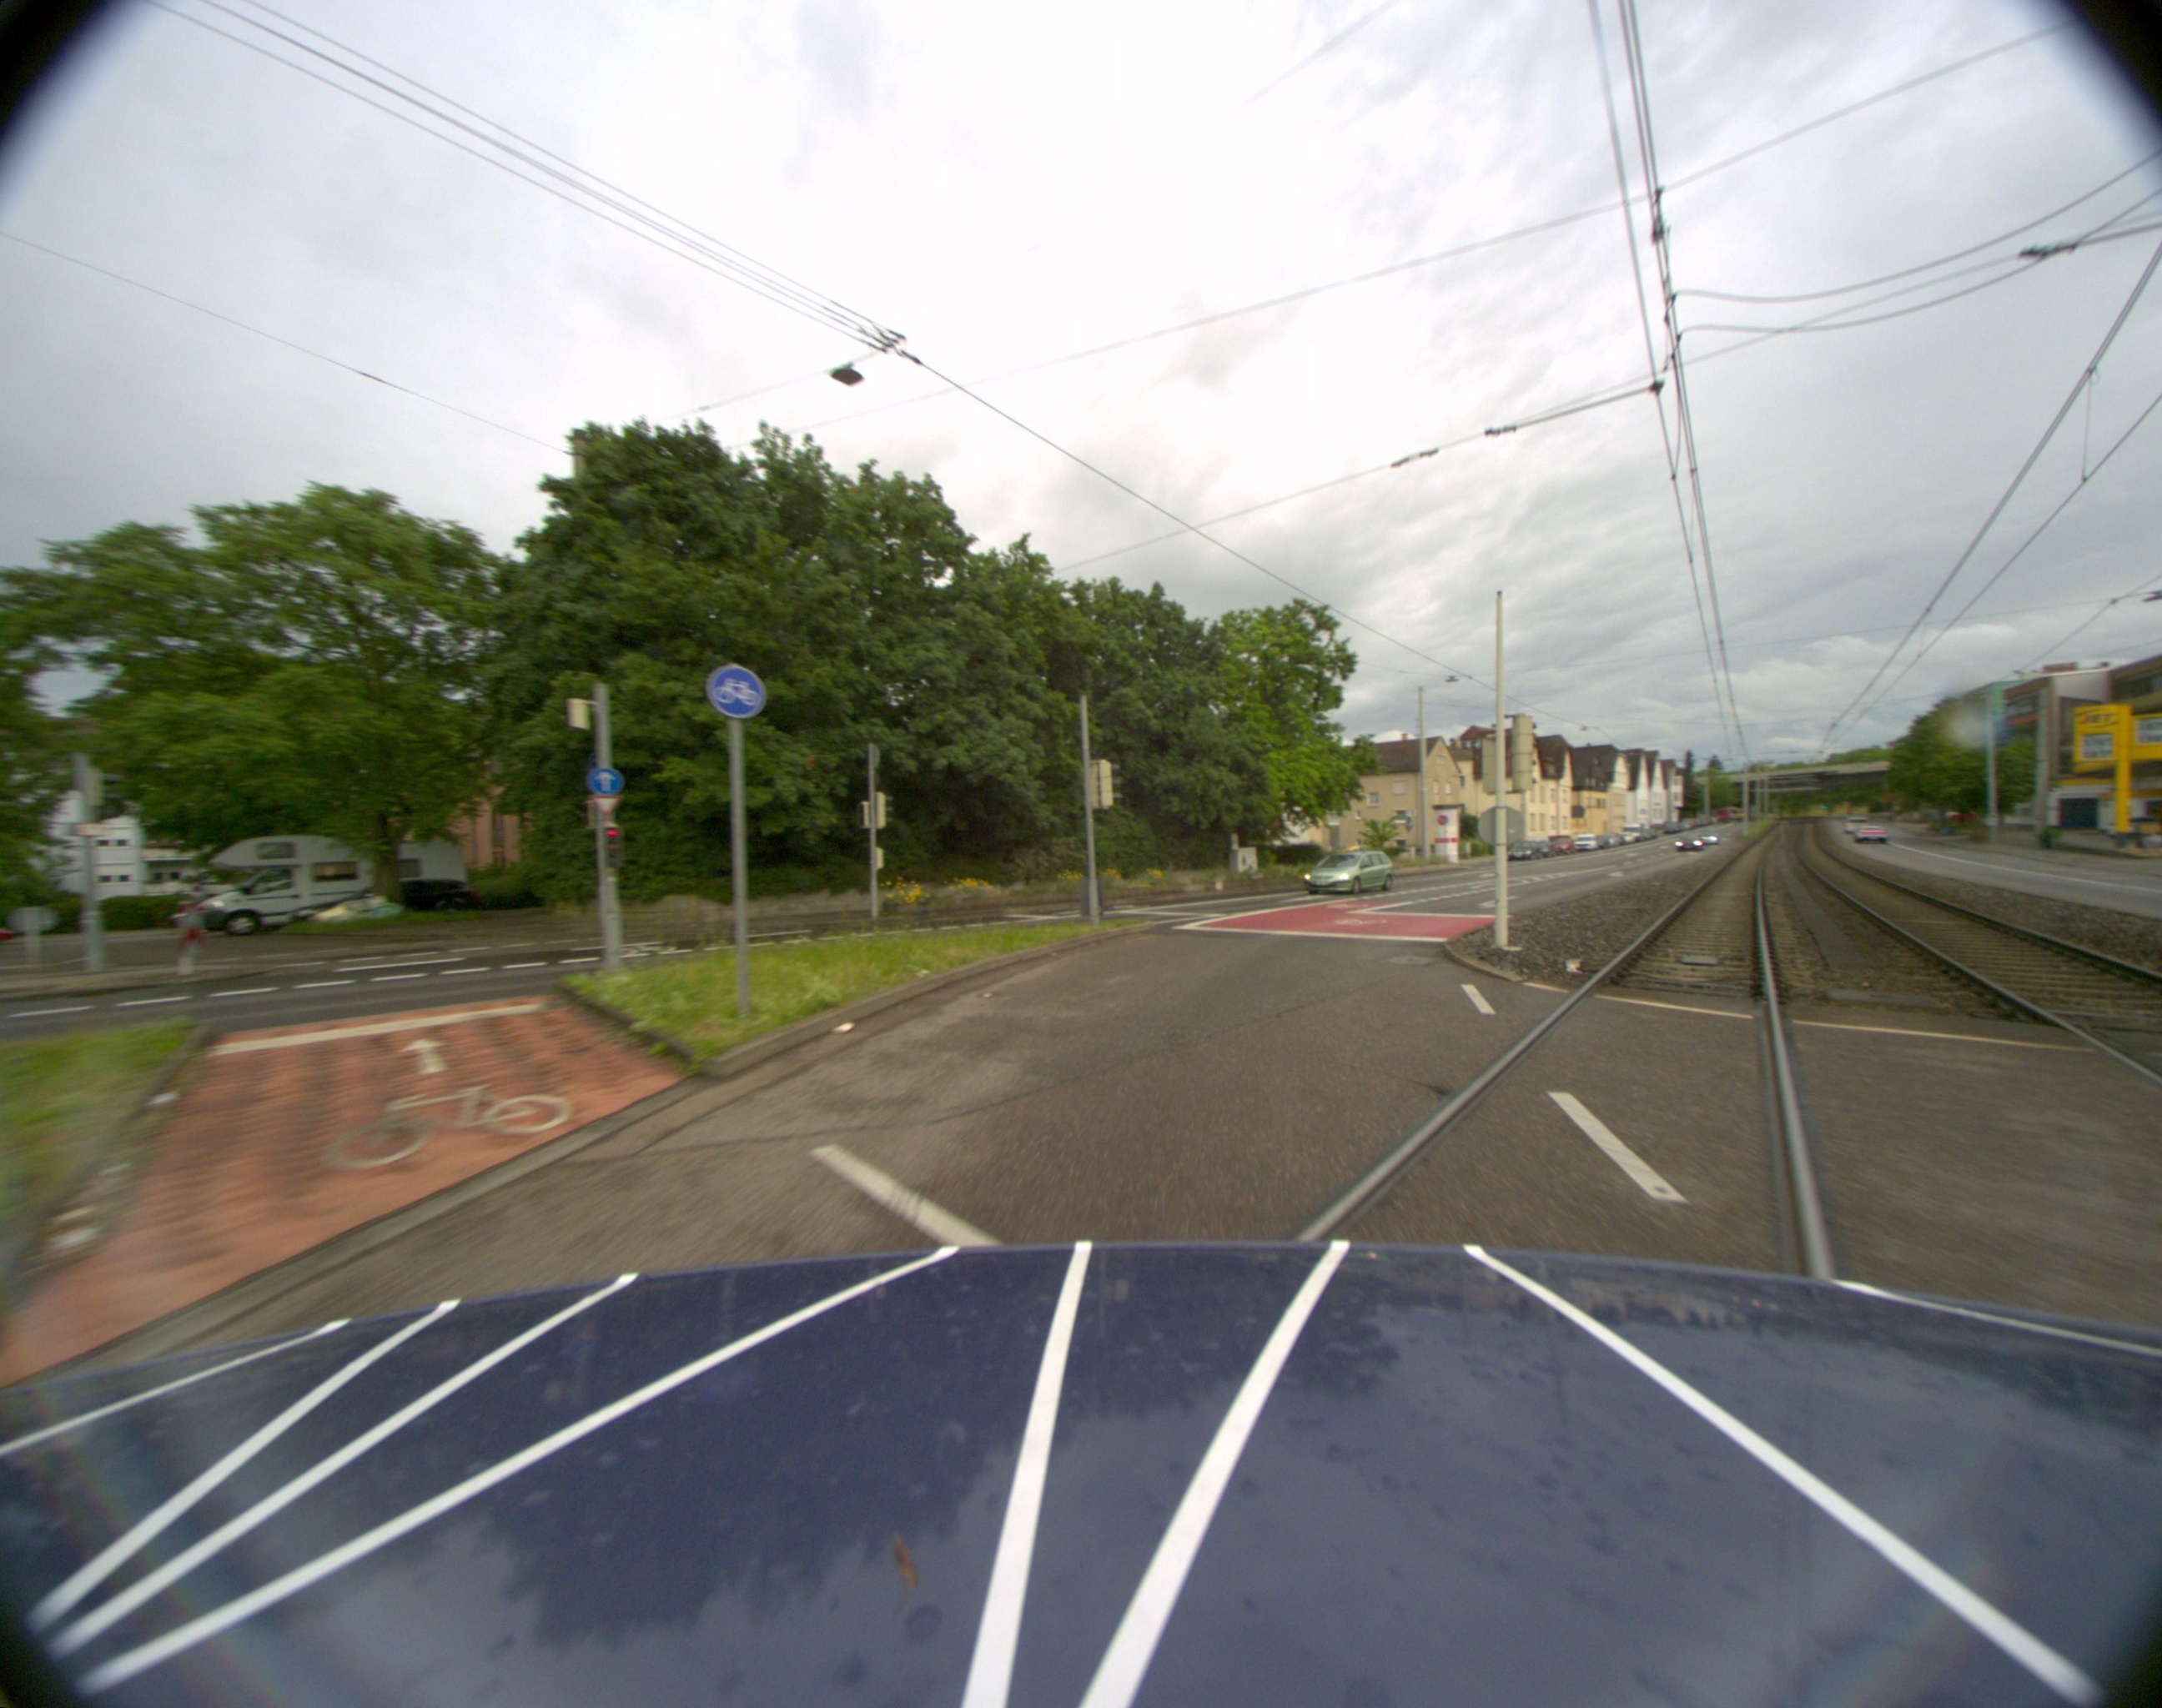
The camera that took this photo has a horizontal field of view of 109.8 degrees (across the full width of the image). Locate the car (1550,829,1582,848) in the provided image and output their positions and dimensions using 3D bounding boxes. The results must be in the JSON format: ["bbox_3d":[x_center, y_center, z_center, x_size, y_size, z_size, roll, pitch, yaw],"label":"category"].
[{"bbox_3d":[46.368,-1.521,72.607,1.838,1.618,4.107,-2,1,43],"label":"car"}]

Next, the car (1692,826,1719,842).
[{"bbox_3d":[64.810,-2.089,78.814,1.884,1.417,4.208,-2,2,43],"label":"car"}]

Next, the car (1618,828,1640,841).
[{"bbox_3d":[68.345,-2.481,94.765,1.602,1.456,4.208,-2,2,45],"label":"car"}]

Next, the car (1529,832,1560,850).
[{"bbox_3d":[41.085,-1.151,67.290,1.668,1.435,3.936,-2,1,42],"label":"car"}]

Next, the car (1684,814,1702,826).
[{"bbox_3d":[106.687,-5.912,132.431,1.973,1.984,4.442,-2,2,45],"label":"car"}]

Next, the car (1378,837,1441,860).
[{"bbox_3d":[27.152,-0.439,62.896,1.882,1.646,4.277,-5,1,-43],"label":"car"}]

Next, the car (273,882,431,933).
[{"bbox_3d":[-26.958,1.909,28.200,1.831,1.539,4.008,0,1,40],"label":"car"}]

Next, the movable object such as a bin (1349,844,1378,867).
[{"bbox_3d":[18.114,0.102,48.650,1.312,1.410,1.302,-2,2,41],"label":"movable object such as a bin"}]

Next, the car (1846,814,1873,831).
[{"bbox_3d":[98.873,-4.023,96.558,1.993,2.003,5.070,3,4,42],"label":"car"}]

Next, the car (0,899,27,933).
[{"bbox_3d":[-60.749,3.490,41.277,1.673,1.733,4.008,0,1,37],"label":"car"}]

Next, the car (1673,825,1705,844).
[{"bbox_3d":[53.507,-1.722,66.877,1.884,1.417,4.208,-2,2,43],"label":"car"}]

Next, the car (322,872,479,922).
[{"bbox_3d":[-21.782,1.334,24.431,1.673,1.346,3.479,0,1,37],"label":"car"}]

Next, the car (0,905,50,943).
[{"bbox_3d":[-55.528,3.628,38.411,1.673,1.733,4.008,0,1,37],"label":"car"}]

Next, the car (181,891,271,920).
[{"bbox_3d":[-58.539,3.471,52.048,1.831,1.637,4.008,0,1,40],"label":"car"}]

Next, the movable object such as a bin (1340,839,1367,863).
[{"bbox_3d":[16.989,-0.178,47.398,1.185,1.410,1.137,-2,2,41],"label":"movable object such as a bin"}]

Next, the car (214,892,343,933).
[{"bbox_3d":[-37.625,2.671,35.695,1.831,1.539,4.008,0,1,40],"label":"car"}]

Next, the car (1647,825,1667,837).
[{"bbox_3d":[77.975,-3.095,102.870,1.723,1.338,4.092,-2,2,43],"label":"car"}]

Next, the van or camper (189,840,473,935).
[{"bbox_3d":[-24.670,0.941,25.328,2.423,2.739,6.445,0,1,39],"label":"van or camper"}]

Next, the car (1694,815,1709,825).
[{"bbox_3d":[114.899,-6.329,140.627,4.208,1.539,1.723,-5,2,-44],"label":"car"}]

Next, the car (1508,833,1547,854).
[{"bbox_3d":[36.782,-0.889,62.507,1.838,1.524,4.447,-2,1,43],"label":"car"}]

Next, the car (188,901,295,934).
[{"bbox_3d":[-48.371,3.620,43.832,1.831,1.539,4.008,0,1,40],"label":"car"}]

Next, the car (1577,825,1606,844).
[{"bbox_3d":[53.441,-2.050,79.559,1.848,1.746,4.530,-2,1,42],"label":"car"}]

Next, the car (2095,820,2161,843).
[{"bbox_3d":[71.597,-1.546,51.969,1.771,1.408,4.083,-2,2,40],"label":"car"}]

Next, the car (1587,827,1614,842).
[{"bbox_3d":[56.897,-2.146,83.216,1.687,1.503,4.144,-2,2,45],"label":"car"}]

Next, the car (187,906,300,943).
[{"bbox_3d":[-45.334,3.782,41.200,1.831,1.539,4.008,0,1,40],"label":"car"}]

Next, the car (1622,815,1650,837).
[{"bbox_3d":[72.229,-3.676,98.869,2.041,2.485,5.931,-2,2,44],"label":"car"}]

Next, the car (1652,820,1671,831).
[{"bbox_3d":[82.456,-3.999,107.832,1.723,1.338,4.208,-2,2,43],"label":"car"}]

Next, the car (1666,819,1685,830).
[{"bbox_3d":[94.704,-4.682,121.044,4.208,1.539,1.723,-5,2,-44],"label":"car"}]

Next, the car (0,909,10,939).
[{"bbox_3d":[-53.924,3.455,35.743,1.673,1.346,4.008,0,1,37],"label":"car"}]

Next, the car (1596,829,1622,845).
[{"bbox_3d":[61.198,-1.990,87.990,1.702,1.557,4.289,-2,2,45],"label":"car"}]

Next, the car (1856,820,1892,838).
[{"bbox_3d":[75.388,-2.357,72.288,1.994,1.640,4.769,2,3,42],"label":"car"}]

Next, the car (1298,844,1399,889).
[{"bbox_3d":[9.641,0.408,27.240,1.884,1.440,4.209,-1,1,43],"label":"car"}]
